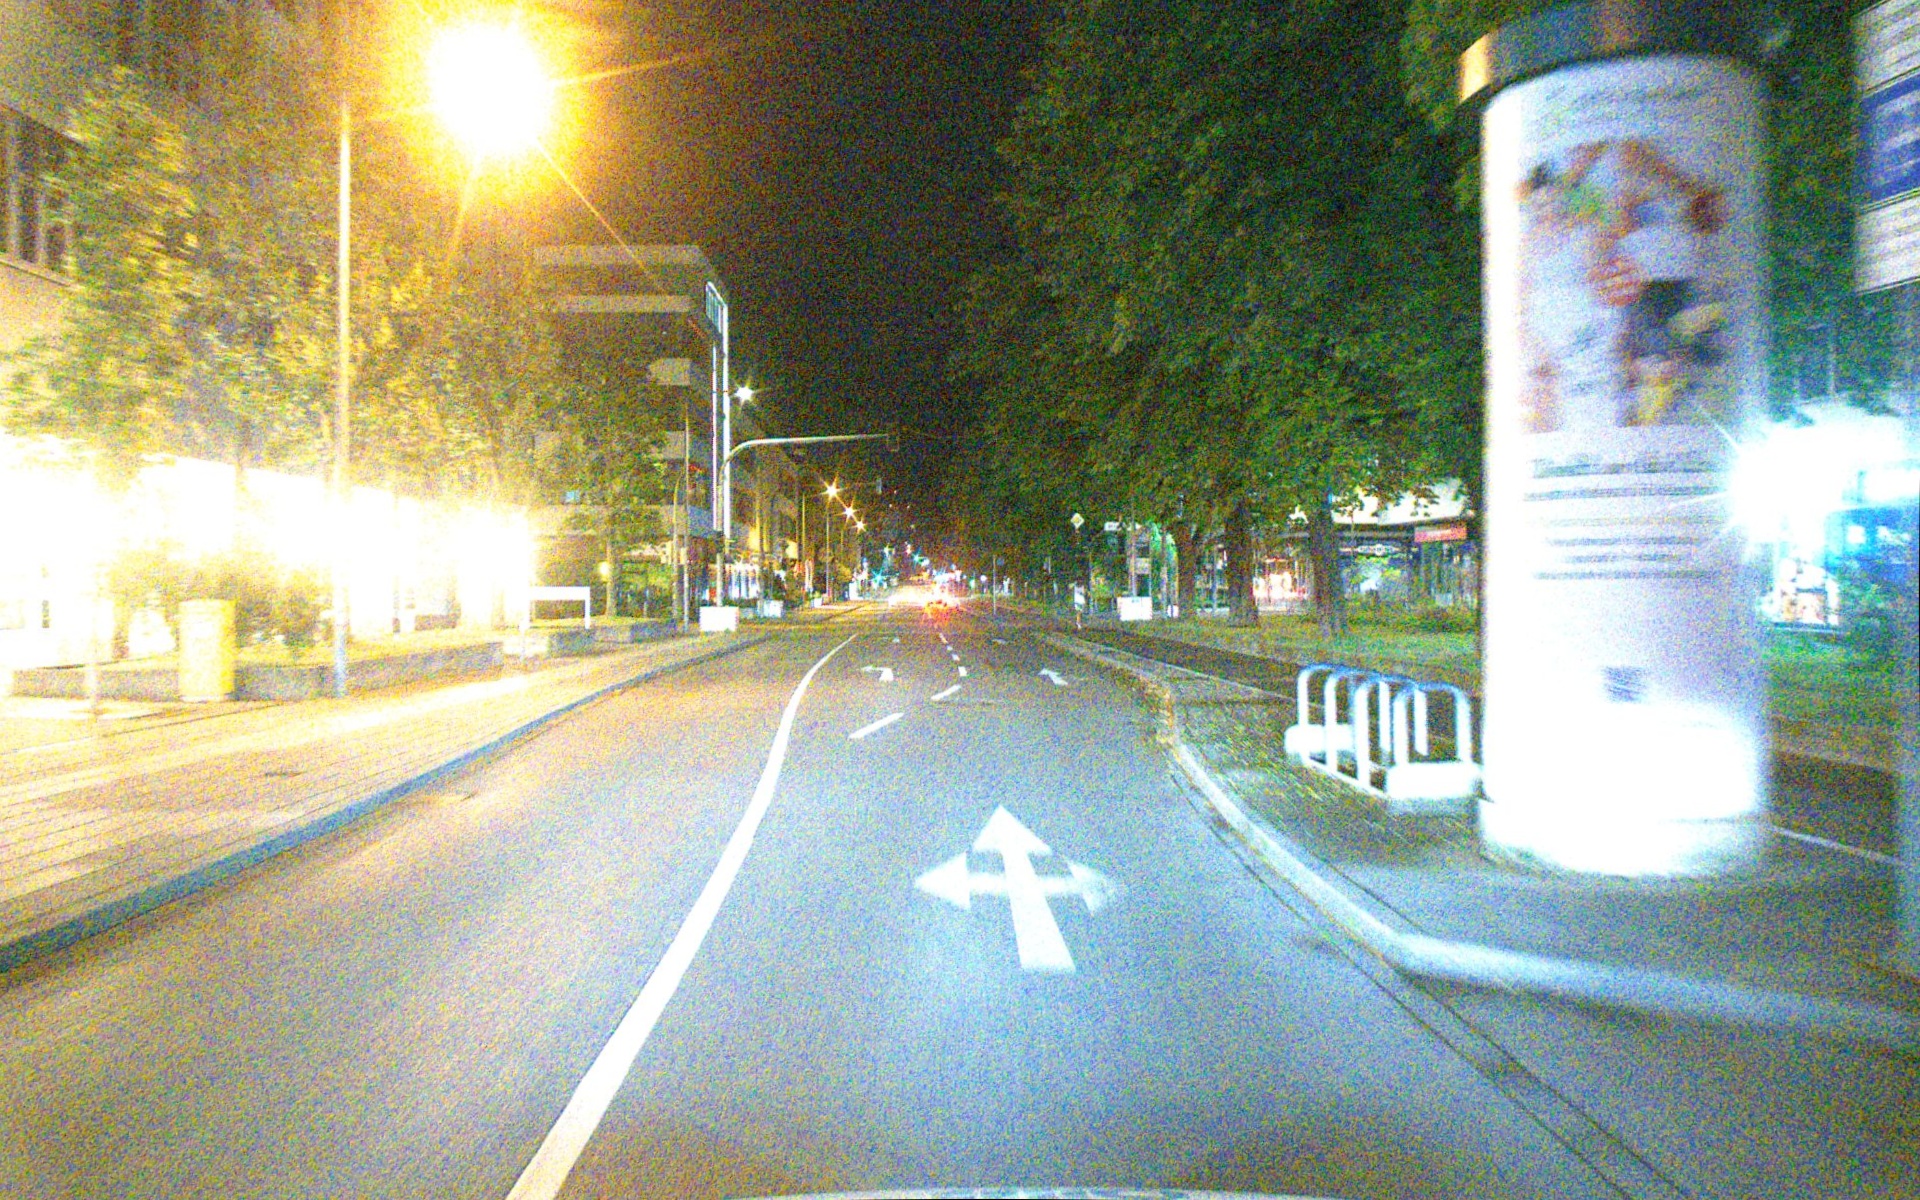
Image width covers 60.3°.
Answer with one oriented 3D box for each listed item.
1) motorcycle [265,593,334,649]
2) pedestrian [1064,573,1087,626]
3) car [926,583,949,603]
[{"bbox_3d":[-12.918,0.396,32.383,0.468,1.038,1.677,0,1,9],"label":"motorcycle"},{"bbox_3d":[4.080,-0.010,58.614,0.688,1.850,1.082,-1,0,-1],"label":"pedestrian"},{"bbox_3d":[-2.080,-0.646,149.299,1.953,1.672,3.999,-2,1,-2],"label":"car"}]
